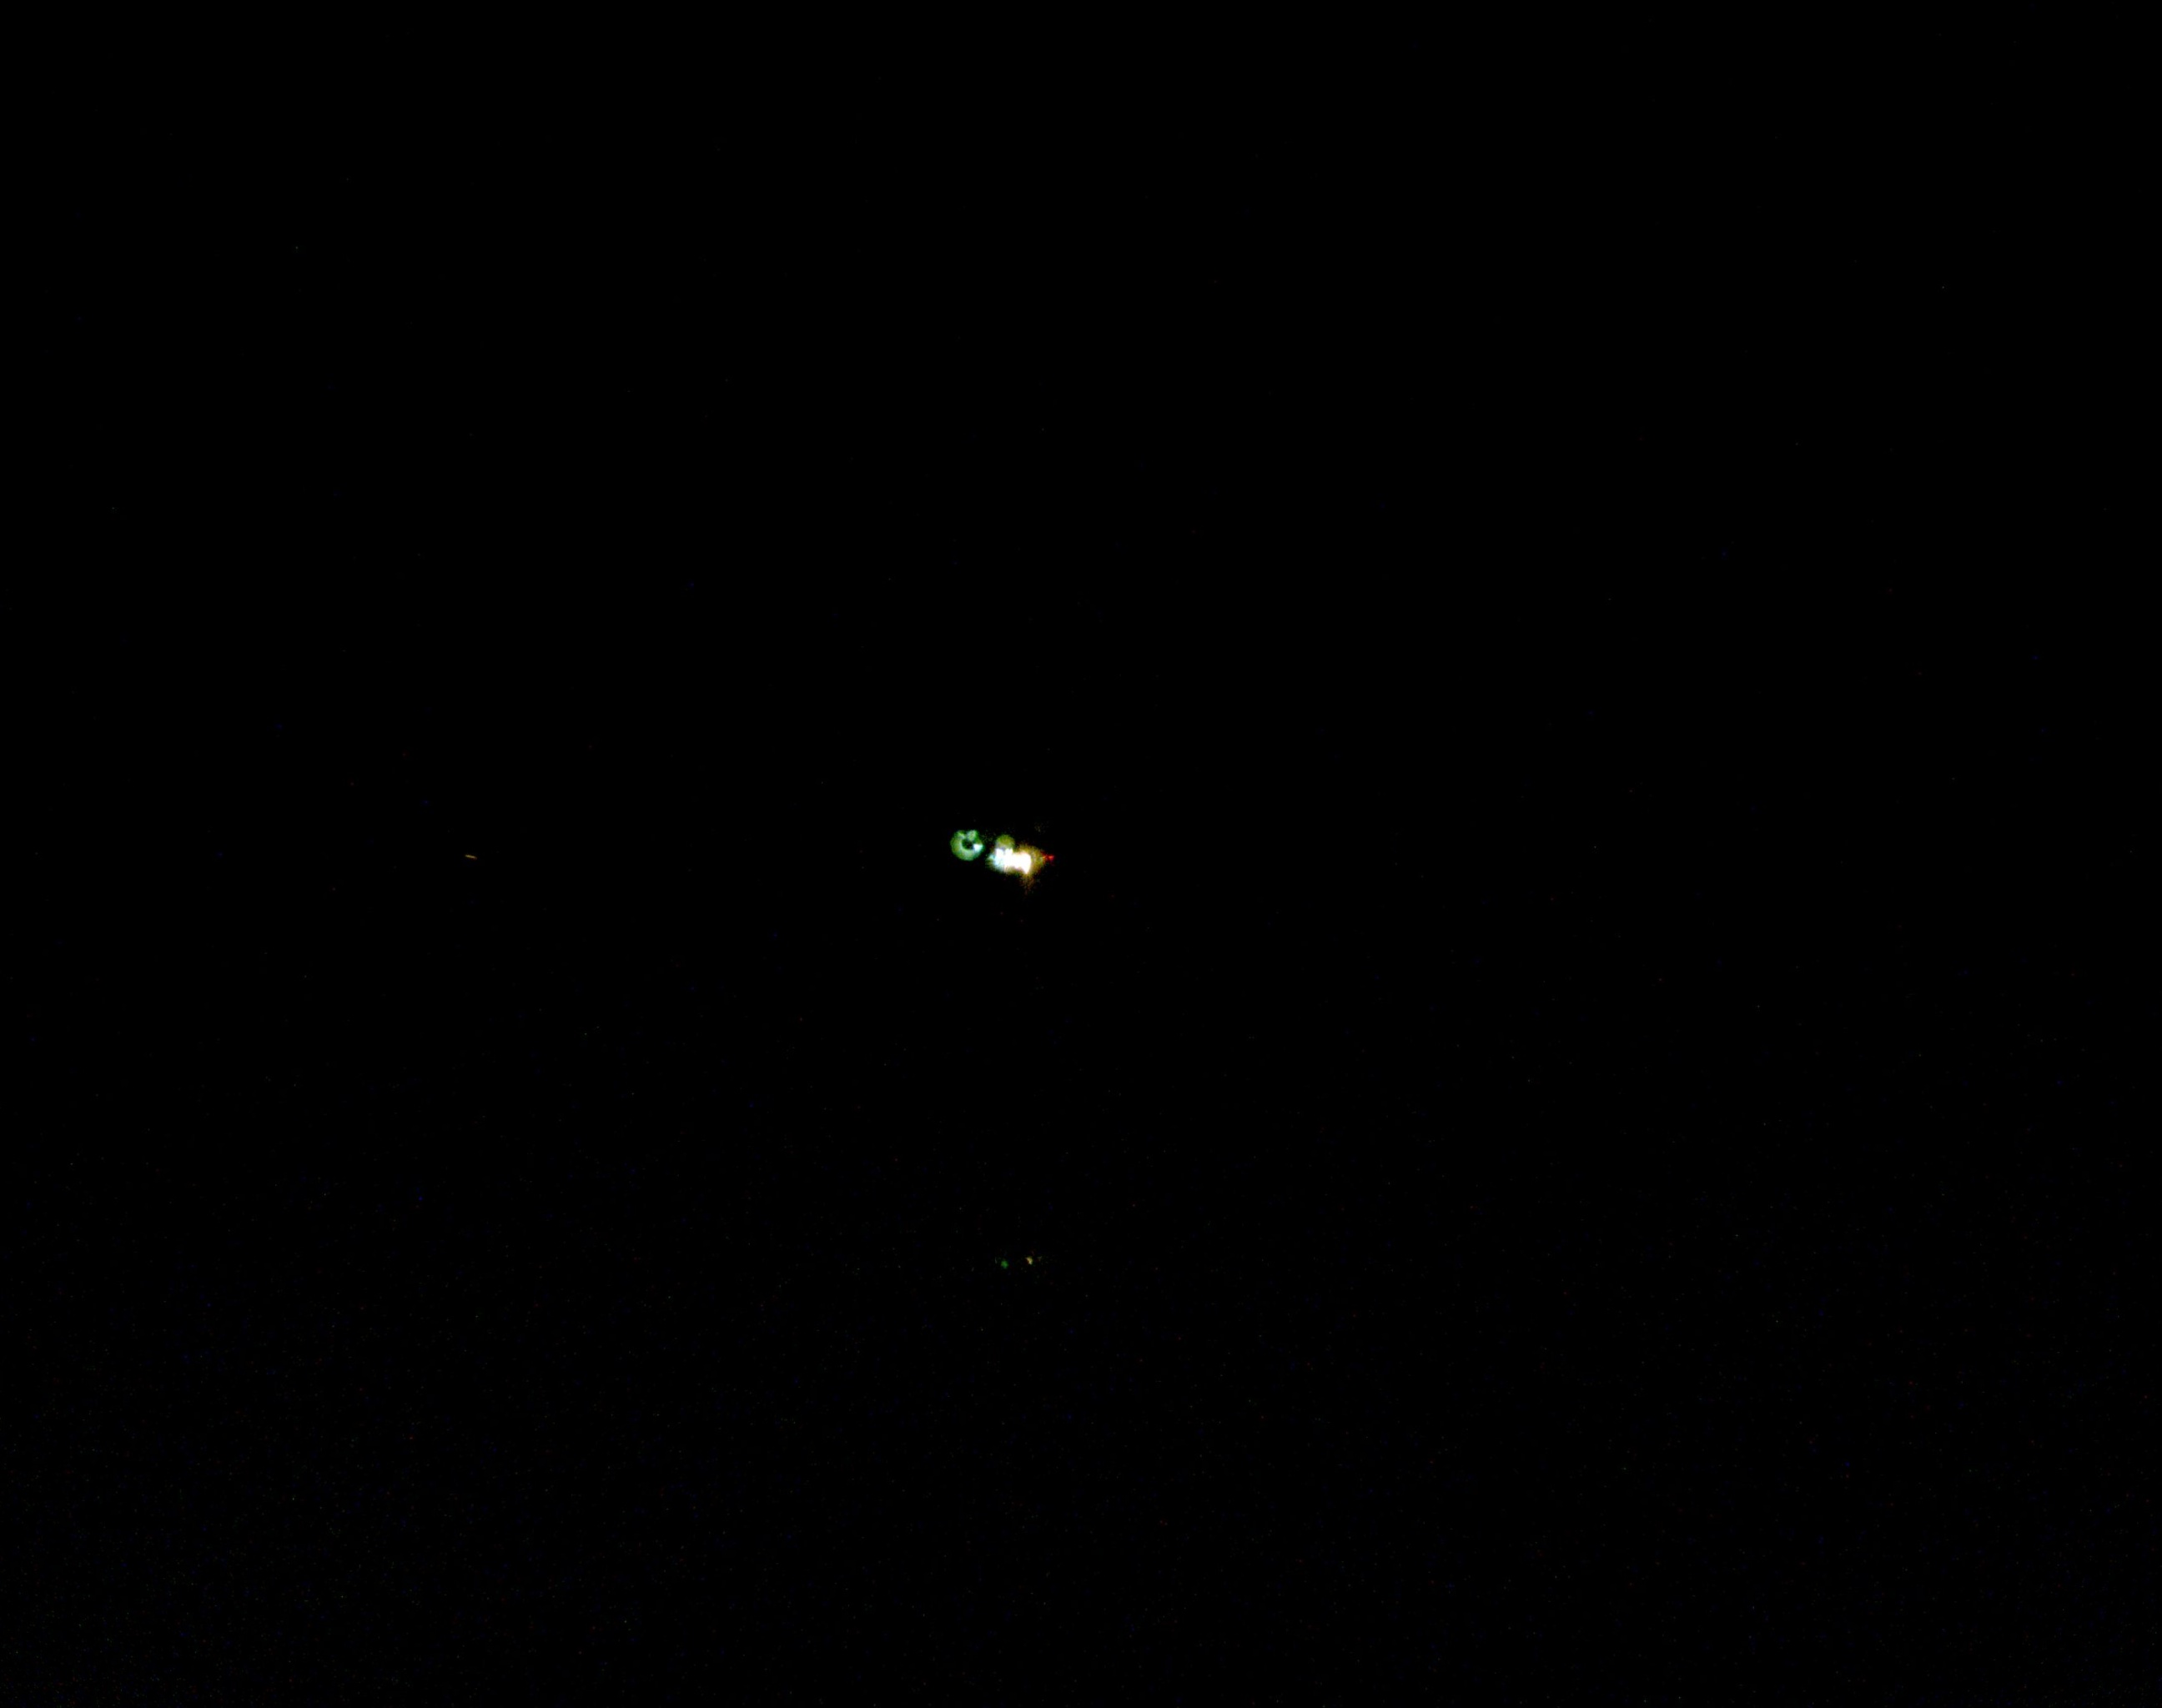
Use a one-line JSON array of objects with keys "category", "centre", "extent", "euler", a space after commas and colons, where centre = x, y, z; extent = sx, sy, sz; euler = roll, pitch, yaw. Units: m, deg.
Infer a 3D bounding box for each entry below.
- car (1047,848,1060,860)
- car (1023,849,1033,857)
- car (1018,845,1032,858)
[{"category": "car", "centre": [-4.721, 0.001, 128.645], "extent": [1.999, 2.002, 4.273], "euler": [0, 0, -5]}, {"category": "car", "centre": [-11.732, -0.309, 167.263], "extent": [2.000, 1.615, 3.997], "euler": [-2, 1, -6]}, {"category": "car", "centre": [-9.057, -0.380, 123.112], "extent": [2.000, 2.002, 3.995], "euler": [0, 2, -9]}]
